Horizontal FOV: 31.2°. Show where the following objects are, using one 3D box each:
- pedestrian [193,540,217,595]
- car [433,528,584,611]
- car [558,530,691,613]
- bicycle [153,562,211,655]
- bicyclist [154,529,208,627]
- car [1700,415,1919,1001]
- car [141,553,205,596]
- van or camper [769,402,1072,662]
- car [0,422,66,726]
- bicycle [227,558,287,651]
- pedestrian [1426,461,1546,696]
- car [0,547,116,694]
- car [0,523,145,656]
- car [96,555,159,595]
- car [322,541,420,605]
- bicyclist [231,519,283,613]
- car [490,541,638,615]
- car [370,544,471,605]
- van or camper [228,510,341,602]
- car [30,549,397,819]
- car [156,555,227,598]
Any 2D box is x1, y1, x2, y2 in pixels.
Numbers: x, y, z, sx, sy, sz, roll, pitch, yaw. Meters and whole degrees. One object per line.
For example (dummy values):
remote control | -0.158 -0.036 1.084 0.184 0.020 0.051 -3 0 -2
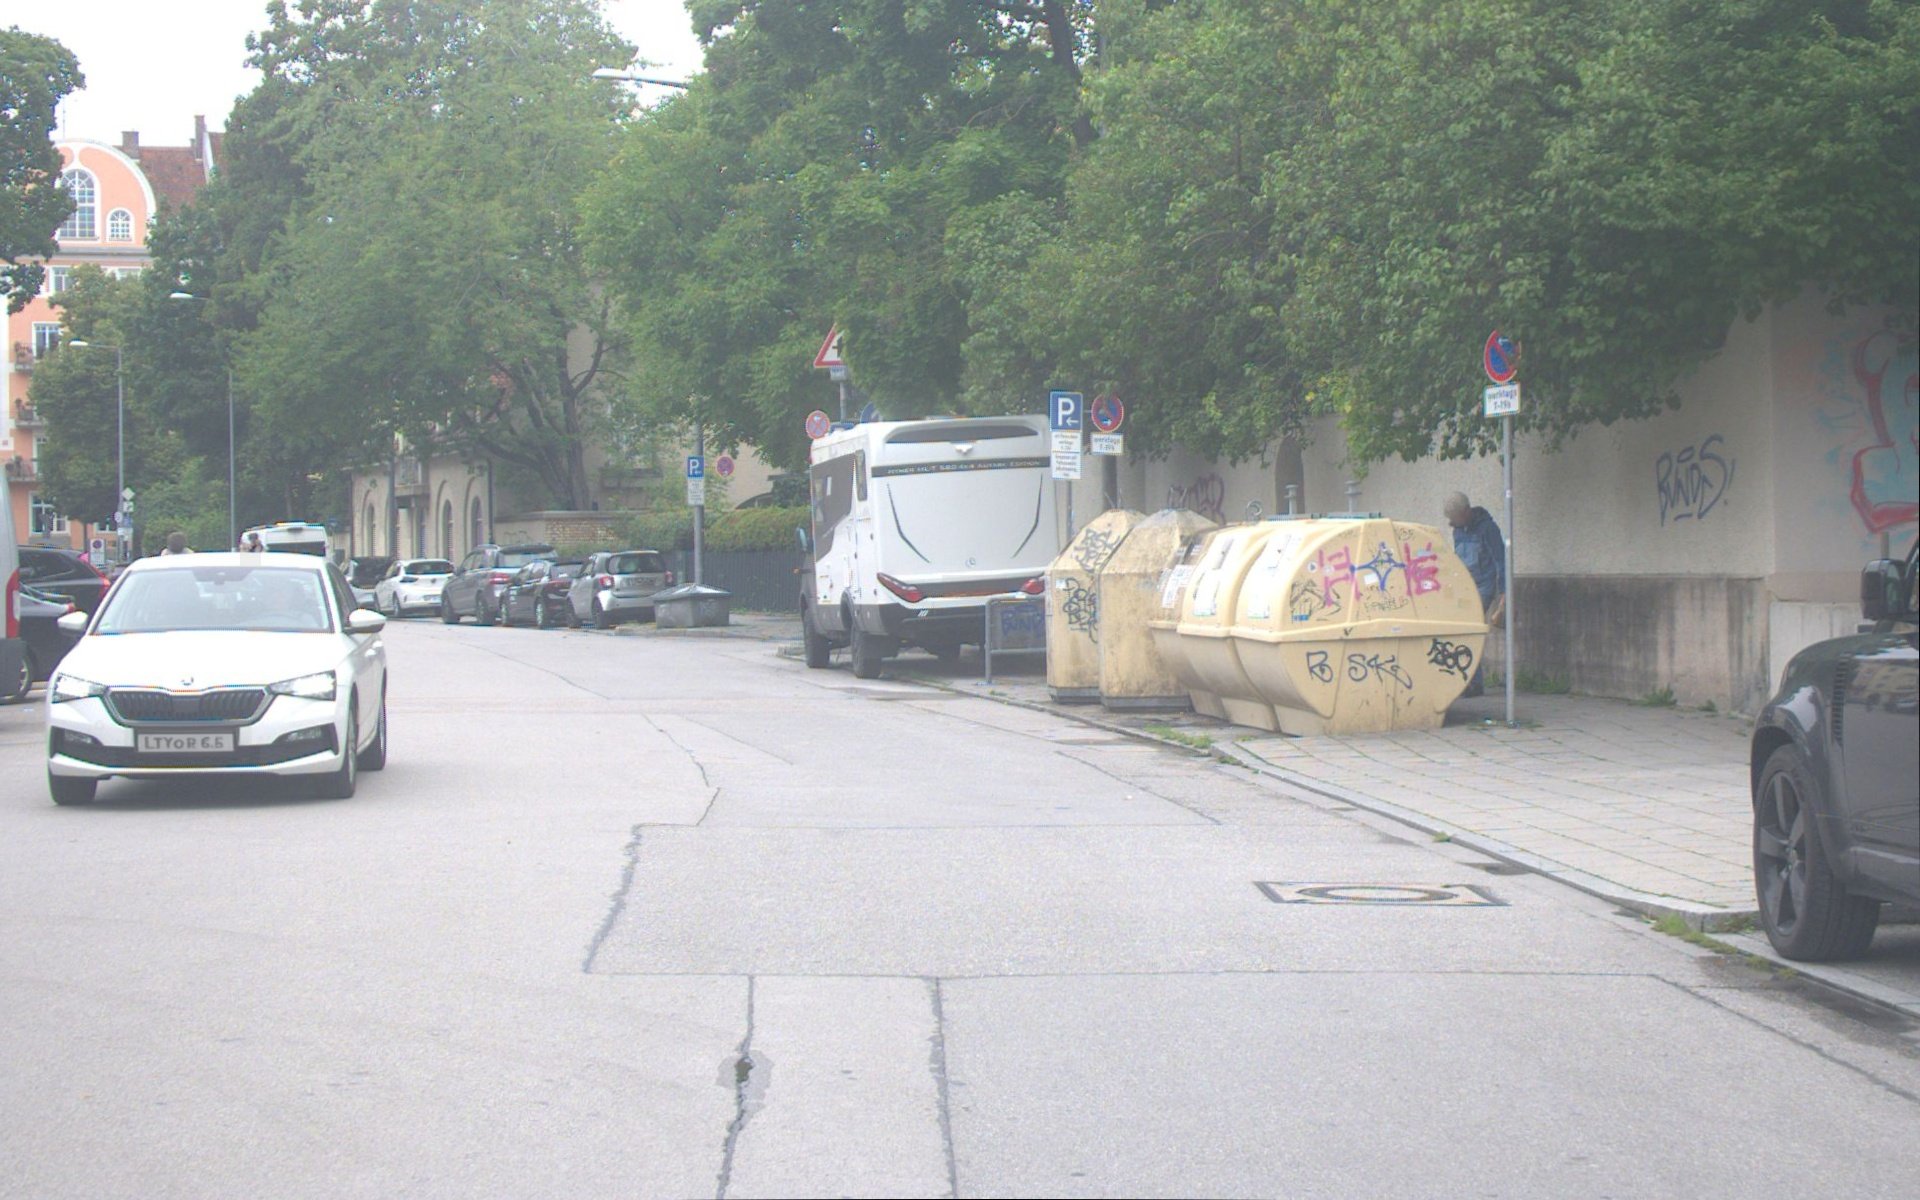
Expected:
pedestrian | -27.755 -1.210 126.352 0.772 2.007 0.563 -1 1 -21
car | -10.026 -0.683 76.029 1.993 1.705 4.886 -3 2 -23
car | -6.649 -0.550 67.913 1.738 1.531 2.947 -3 1 -23
bicycle | -11.317 0.105 49.974 0.707 1.301 2.119 -1 1 -16
bicyclist | -11.313 -0.324 49.915 0.696 1.392 0.930 -1 1 -16
car | 4.041 0.339 11.033 1.987 1.865 5.078 0 0 -3
car | -28.231 -0.914 123.231 1.707 1.461 3.838 -3 1 -20
van or camper | -0.633 -0.835 42.237 2.272 2.896 7.279 -1 1 -12
car | -10.186 -0.154 28.878 4.623 2.554 2.234 -3 2 -34
bicycle | -10.293 0.054 50.301 0.706 1.301 2.119 -1 1 -15
pedestrian | 4.509 -0.194 29.449 0.796 1.978 0.630 -1 1 -40
car | -11.129 0.273 34.896 4.514 1.446 1.977 -3 2 -38
car | -13.187 -0.088 44.819 4.514 1.659 1.987 -3 1 -40
car | -32.049 -0.975 132.321 1.670 1.339 3.839 -3 3 -23
car | -15.396 -0.713 89.755 1.707 1.532 4.241 -3 2 -20
bicyclist | -10.283 -0.504 50.257 0.696 1.347 0.930 -1 1 -13
car | -8.291 -0.476 71.721 1.877 1.422 4.223 -3 2 -23
car | -13.368 -0.626 85.024 1.685 1.436 4.001 -2 1 -20
van or camper | -19.991 -1.298 101.551 2.192 2.541 5.730 -3 2 -21
car | -4.511 0.437 21.307 1.772 1.470 4.135 -1 1 -6
car | -26.552 -0.822 118.710 1.707 1.403 4.131 -3 1 -22
